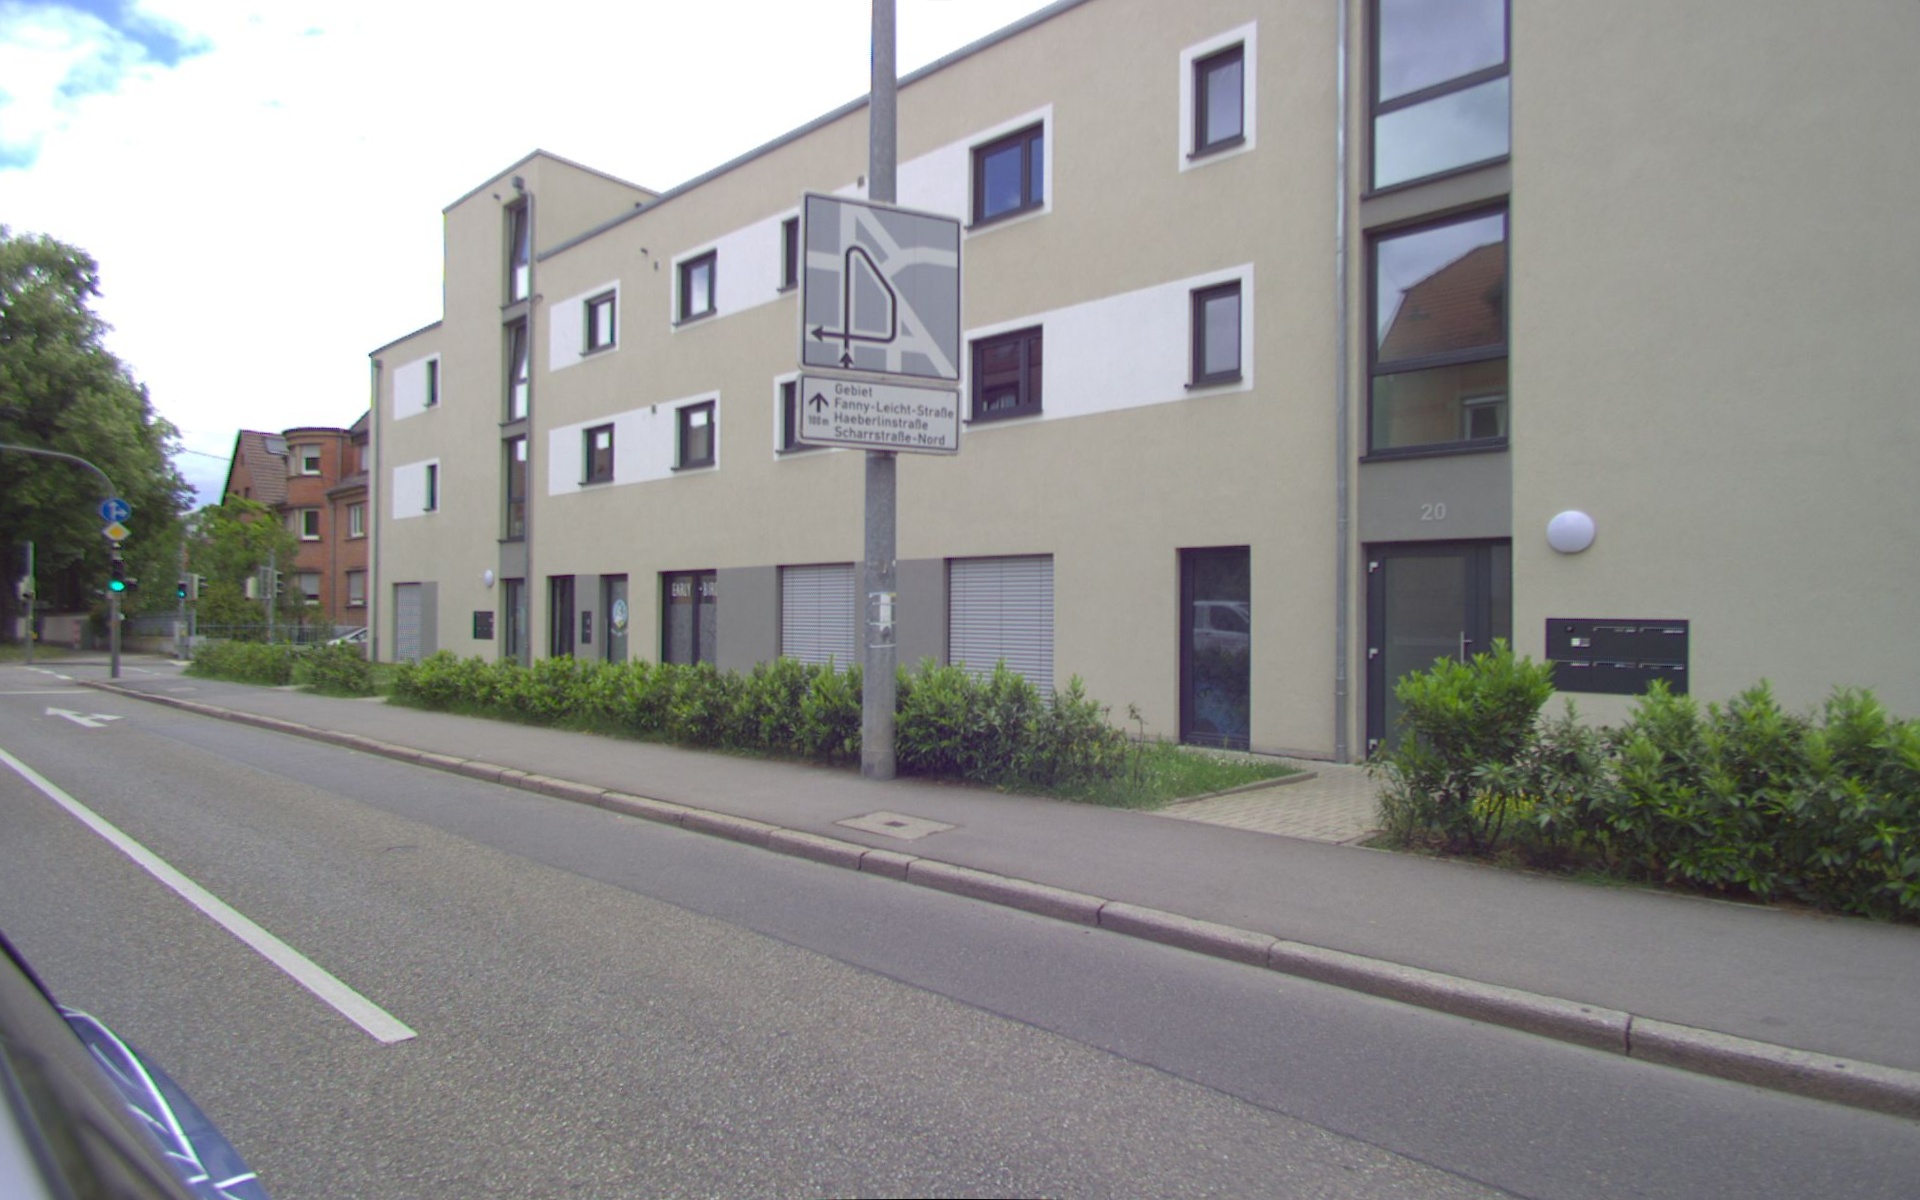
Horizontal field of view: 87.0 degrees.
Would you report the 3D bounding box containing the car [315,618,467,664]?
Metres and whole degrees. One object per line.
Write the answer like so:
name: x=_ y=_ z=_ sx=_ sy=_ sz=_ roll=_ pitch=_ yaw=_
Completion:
car: x=-22.182 y=1.561 z=39.616 sx=2.171 sy=1.698 sz=4.756 roll=-1 pitch=-2 yaw=36
